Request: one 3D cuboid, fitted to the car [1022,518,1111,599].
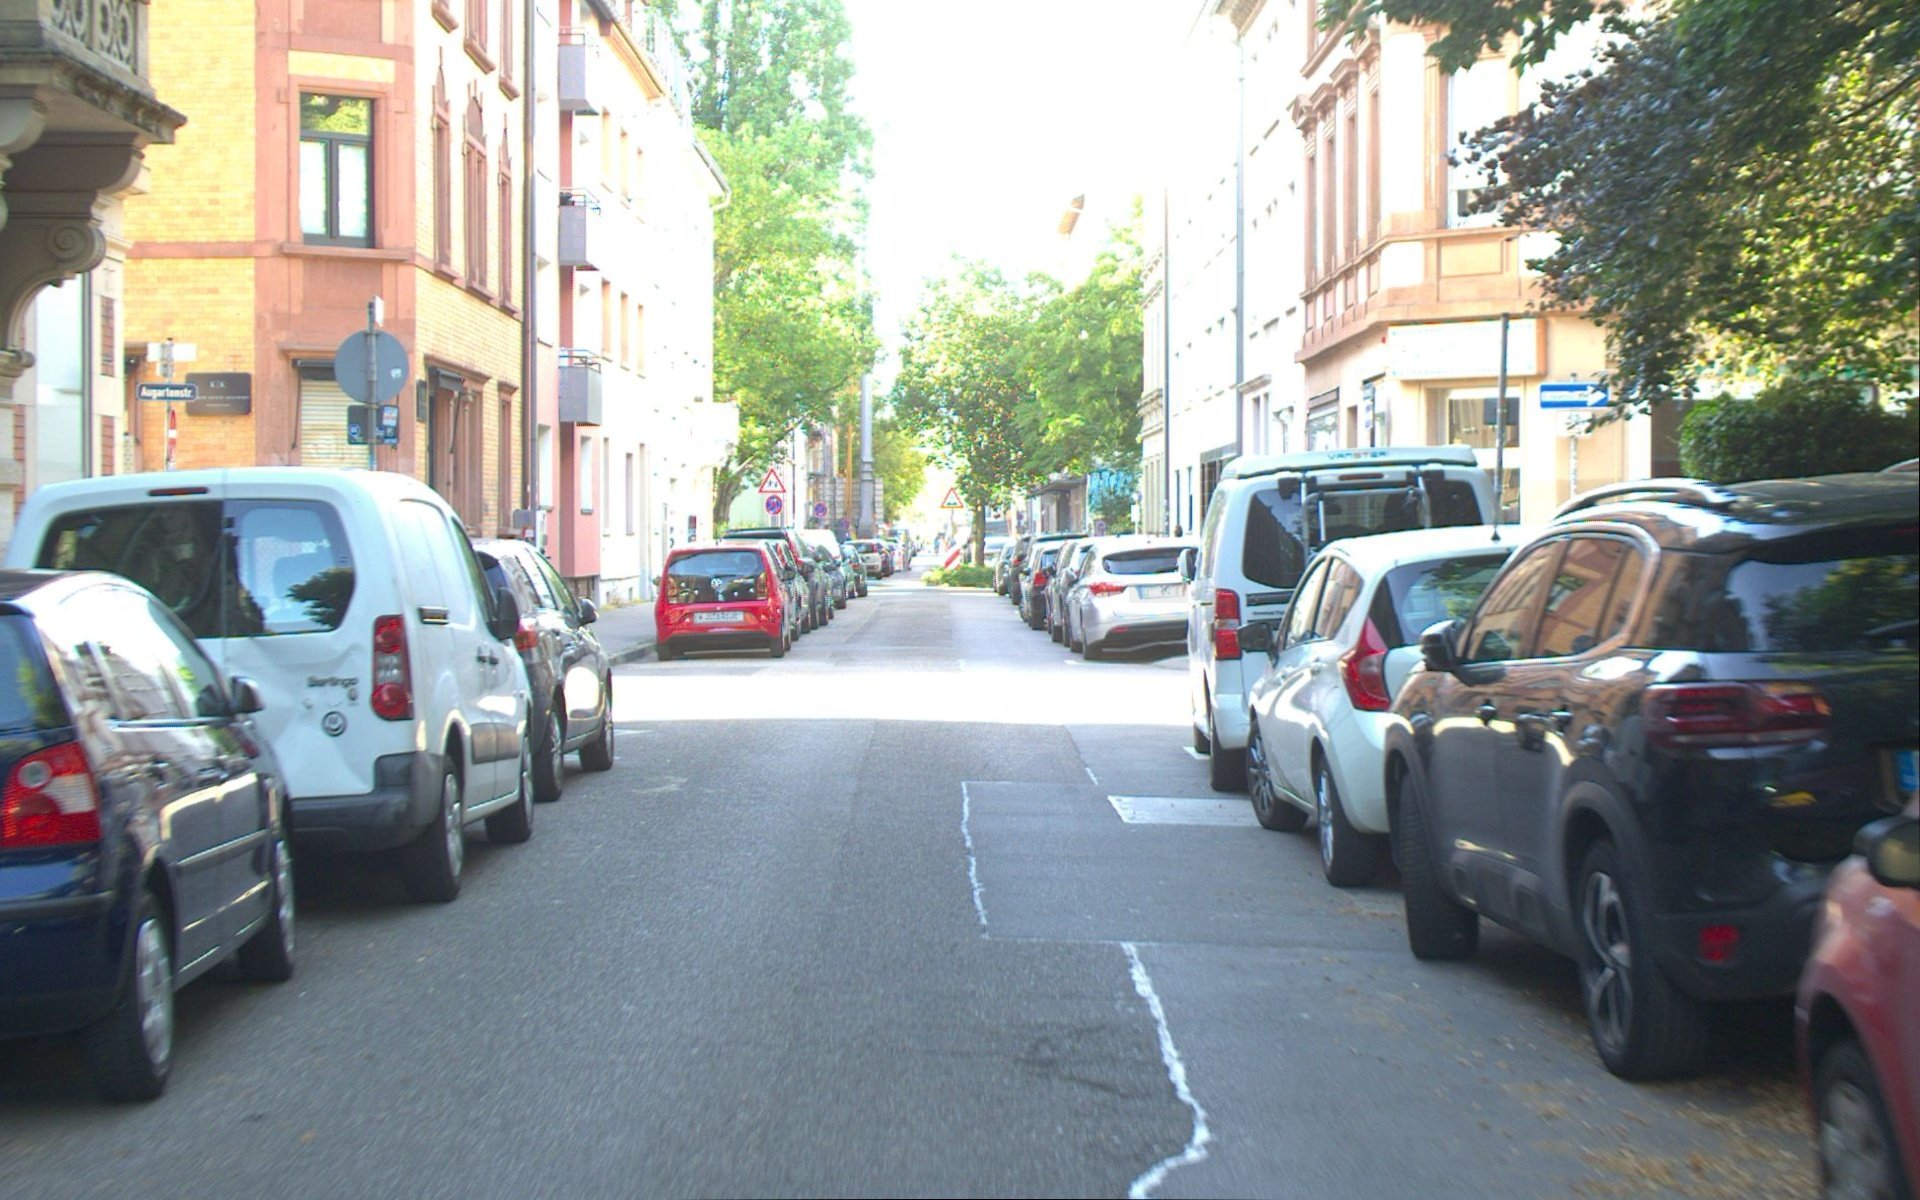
[{"bbox_3d":[2.323,-0.929,75.898,1.676,1.621,4.251,-4,1,-1],"label":"car"}]

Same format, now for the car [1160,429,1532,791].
[{"bbox_3d":[2.333,0.004,21.920,1.914,1.991,4.792,-2,1,2],"label":"car"}]

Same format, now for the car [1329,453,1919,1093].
[{"bbox_3d":[2.494,0.396,11.062,1.739,1.597,4.265,-5,1,-4],"label":"car"}]

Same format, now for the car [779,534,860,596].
[{"bbox_3d":[-3.564,-0.910,87.785,1.670,1.464,3.820,-2,1,3],"label":"car"}]

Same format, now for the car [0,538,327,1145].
[{"bbox_3d":[-3.089,0.597,10.597,1.692,1.509,3.974,-2,1,-3],"label":"car"}]

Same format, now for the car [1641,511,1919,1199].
[{"bbox_3d":[2.490,0.606,5.600,1.618,1.619,3.864,-5,1,-4],"label":"car"}]

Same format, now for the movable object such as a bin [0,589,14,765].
[{"bbox_3d":[-5.978,0.452,20.091,0.637,1.038,0.856,2,1,0],"label":"movable object such as a bin"}]

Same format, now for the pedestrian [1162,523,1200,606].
[{"bbox_3d":[4.450,-0.726,69.266,0.685,1.654,0.717,-1,1,0],"label":"pedestrian"}]

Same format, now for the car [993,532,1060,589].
[{"bbox_3d":[1.820,-1.106,95.431,1.676,1.482,4.095,-2,1,-1],"label":"car"}]

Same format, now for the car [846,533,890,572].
[{"bbox_3d":[-3.667,-1.904,138.236,1.676,1.482,4.095,-2,1,-1],"label":"car"}]

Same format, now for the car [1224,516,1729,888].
[{"bbox_3d":[2.327,0.392,16.424,1.719,1.565,3.829,0,1,-2],"label":"car"}]

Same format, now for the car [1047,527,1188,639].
[{"bbox_3d":[2.240,-0.276,49.805,1.744,1.501,4.021,-2,1,-1],"label":"car"}]

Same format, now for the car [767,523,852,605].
[{"bbox_3d":[-3.432,-0.846,78.905,1.765,1.779,4.039,-2,1,-1],"label":"car"}]

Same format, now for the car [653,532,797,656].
[{"bbox_3d":[-3.013,-0.106,44.630,1.628,1.476,3.601,-2,1,-1],"label":"car"}]

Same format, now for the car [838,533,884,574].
[{"bbox_3d":[-3.822,-1.823,133.085,1.676,1.482,4.095,-2,1,-1],"label":"car"}]

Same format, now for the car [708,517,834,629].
[{"bbox_3d":[-3.240,-0.509,59.620,1.743,1.805,4.672,-2,1,2],"label":"car"}]

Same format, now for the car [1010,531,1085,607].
[{"bbox_3d":[2.037,-0.729,81.238,1.676,1.676,4.094,-2,0,1],"label":"car"}]

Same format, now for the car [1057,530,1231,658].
[{"bbox_3d":[2.301,-0.118,44.033,1.743,1.501,4.358,-2,1,-3],"label":"car"}]

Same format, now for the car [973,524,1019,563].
[{"bbox_3d":[1.405,-2.226,134.711,1.676,1.482,3.638,-2,1,-1],"label":"car"}]

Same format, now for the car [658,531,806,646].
[{"bbox_3d":[-3.236,-0.203,49.426,1.695,1.516,4.096,-2,1,2],"label":"car"}]

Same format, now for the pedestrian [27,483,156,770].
[{"bbox_3d":[-5.059,0.155,20.044,0.548,1.639,0.717,1,-1,0],"label":"pedestrian"}]

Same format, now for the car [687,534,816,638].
[{"bbox_3d":[-3.252,-0.253,54.249,1.656,1.516,3.944,-2,1,2],"label":"car"}]

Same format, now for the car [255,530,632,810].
[{"bbox_3d":[-3.022,0.345,20.863,1.692,1.476,3.973,-2,1,-1],"label":"car"}]

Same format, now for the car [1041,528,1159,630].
[{"bbox_3d":[2.185,-0.369,54.647,1.598,1.501,4.185,-2,1,-1],"label":"car"}]

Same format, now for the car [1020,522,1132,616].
[{"bbox_3d":[1.963,-0.562,59.085,1.676,1.501,3.938,-2,1,-1],"label":"car"}]

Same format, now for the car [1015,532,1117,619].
[{"bbox_3d":[1.960,-0.483,64.262,1.676,1.501,3.938,-2,1,-1],"label":"car"}]

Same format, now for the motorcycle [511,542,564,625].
[{"bbox_3d":[-6.243,-0.251,50.837,0.533,1.201,1.909,0,1,0],"label":"motorcycle"}]

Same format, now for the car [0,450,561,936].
[{"bbox_3d":[-2.988,0.309,15.438,1.831,1.805,4.572,-2,1,0],"label":"car"}]
